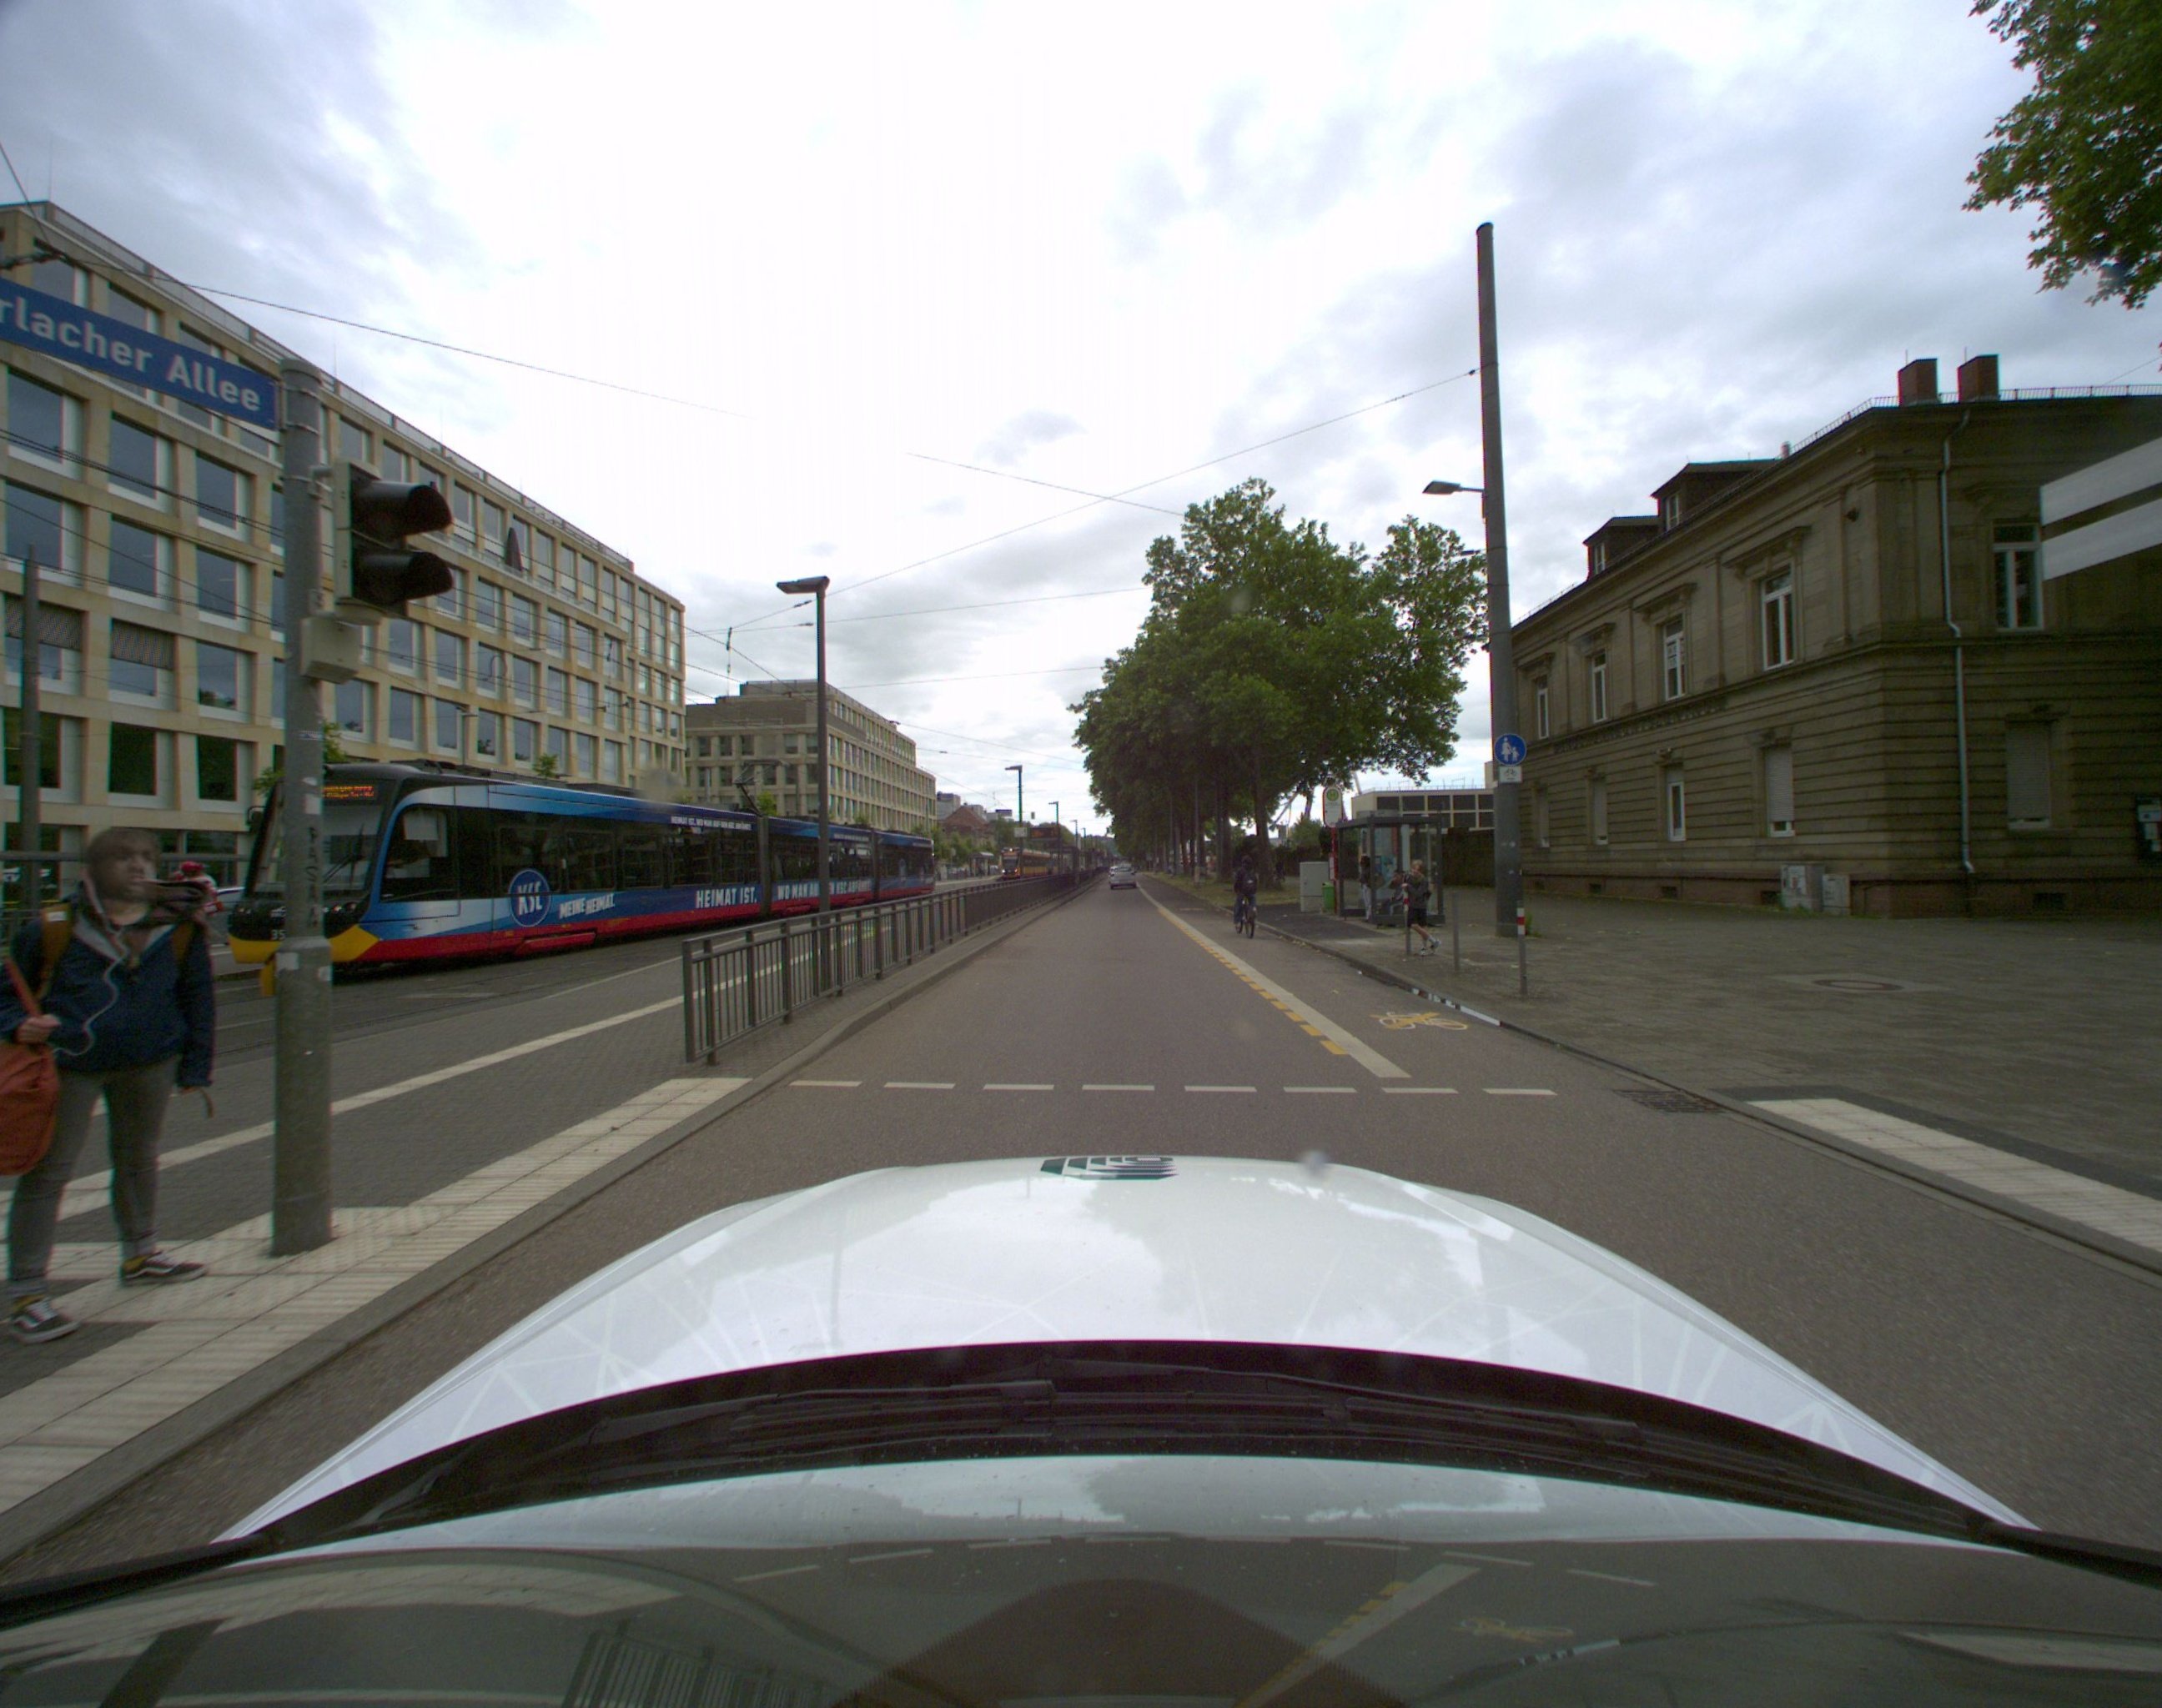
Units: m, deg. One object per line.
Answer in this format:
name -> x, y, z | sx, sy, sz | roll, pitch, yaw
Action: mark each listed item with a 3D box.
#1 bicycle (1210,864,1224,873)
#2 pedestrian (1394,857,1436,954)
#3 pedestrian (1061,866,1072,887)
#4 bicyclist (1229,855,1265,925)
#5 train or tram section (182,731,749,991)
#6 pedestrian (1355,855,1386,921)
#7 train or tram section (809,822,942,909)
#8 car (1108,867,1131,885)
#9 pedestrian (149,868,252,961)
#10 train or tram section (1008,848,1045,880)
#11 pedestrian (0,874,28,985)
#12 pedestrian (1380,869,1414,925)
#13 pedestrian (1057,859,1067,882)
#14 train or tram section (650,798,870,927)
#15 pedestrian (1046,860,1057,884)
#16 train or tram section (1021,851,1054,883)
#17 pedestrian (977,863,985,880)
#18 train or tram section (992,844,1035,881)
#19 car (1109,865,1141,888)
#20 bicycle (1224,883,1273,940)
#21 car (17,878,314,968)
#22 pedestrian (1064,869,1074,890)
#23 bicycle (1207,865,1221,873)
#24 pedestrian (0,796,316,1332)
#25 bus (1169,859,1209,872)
bicycle -> 19.097, 2.026, 114.196 | 1.883, 1.105, 0.550 | -3, -2, 1
pedestrian -> 5.423, 0.820, 13.253 | 0.547, 1.529, 0.641 | -2, -2, 20
pedestrian -> -0.940, 1.454, 53.068 | 0.608, 1.341, 0.600 | -2, -2, 3
bicyclist -> 3.737, 0.798, 18.345 | 0.638, 1.531, 0.664 | -1, -2, 1
train or tram section -> -11.201, 0.252, 17.511 | 2.843, 3.641, 11.770 | -2, -2, 2
pedestrian -> 6.981, 0.811, 19.683 | 0.474, 1.563, 0.703 | -2, -2, 2
train or tram section -> -10.039, 0.691, 41.874 | 2.843, 3.692, 13.525 | -2, -2, 2
car -> 3.413, 1.917, 71.845 | 1.832, 1.552, 4.005 | -2, -1, 4
pedestrian -> -15.833, 1.069, 14.671 | 0.905, 1.586, 0.848 | -1, -2, 1
train or tram section -> -6.815, 1.364, 104.112 | 3.150, 3.862, 11.320 | -2, -2, 3
pedestrian -> -15.849, 1.091, 11.584 | 0.705, 1.586, 0.766 | -1, -2, 1
pedestrian -> 7.136, 0.970, 18.427 | 0.474, 1.234, 0.703 | -2, -2, 2
pedestrian -> -1.500, 1.328, 64.406 | 0.669, 1.793, 1.111 | -1, -2, -6
train or tram section -> -10.746, 0.391, 29.240 | 2.843, 3.641, 11.704 | -2, -2, 2
pedestrian -> -2.317, 1.424, 63.754 | 0.670, 1.793, 1.109 | -1, -2, -10
train or tram section -> -6.067, 1.921, 116.610 | 3.167, 4.179, 13.631 | -2, -2, 3
pedestrian -> -10.860, 1.892, 88.556 | 0.709, 1.796, 1.161 | -1, -2, 2
train or tram section -> -7.522, 1.078, 92.770 | 3.224, 3.862, 11.320 | -2, -2, 3
car -> 3.013, 1.526, 55.079 | 1.875, 1.453, 4.007 | -2, -2, 7
bicycle -> 3.719, 1.247, 18.283 | 0.650, 1.150, 2.283 | -1, -2, 1
car -> -20.101, 1.431, 18.205 | 1.986, 1.739, 4.002 | -2, -2, 2
pedestrian -> -0.816, 1.672, 54.344 | 0.608, 1.373, 0.600 | -2, -2, 3
bicycle -> 19.469, 2.148, 119.407 | 1.914, 1.091, 0.550 | -3, -2, 1
pedestrian -> -3.363, 0.653, 2.907 | 0.865, 1.643, 0.645 | 0, -2, -39
bus -> 25.472, 2.719, 192.085 | 9.246, 2.960, 2.000 | -1, -2, 0
